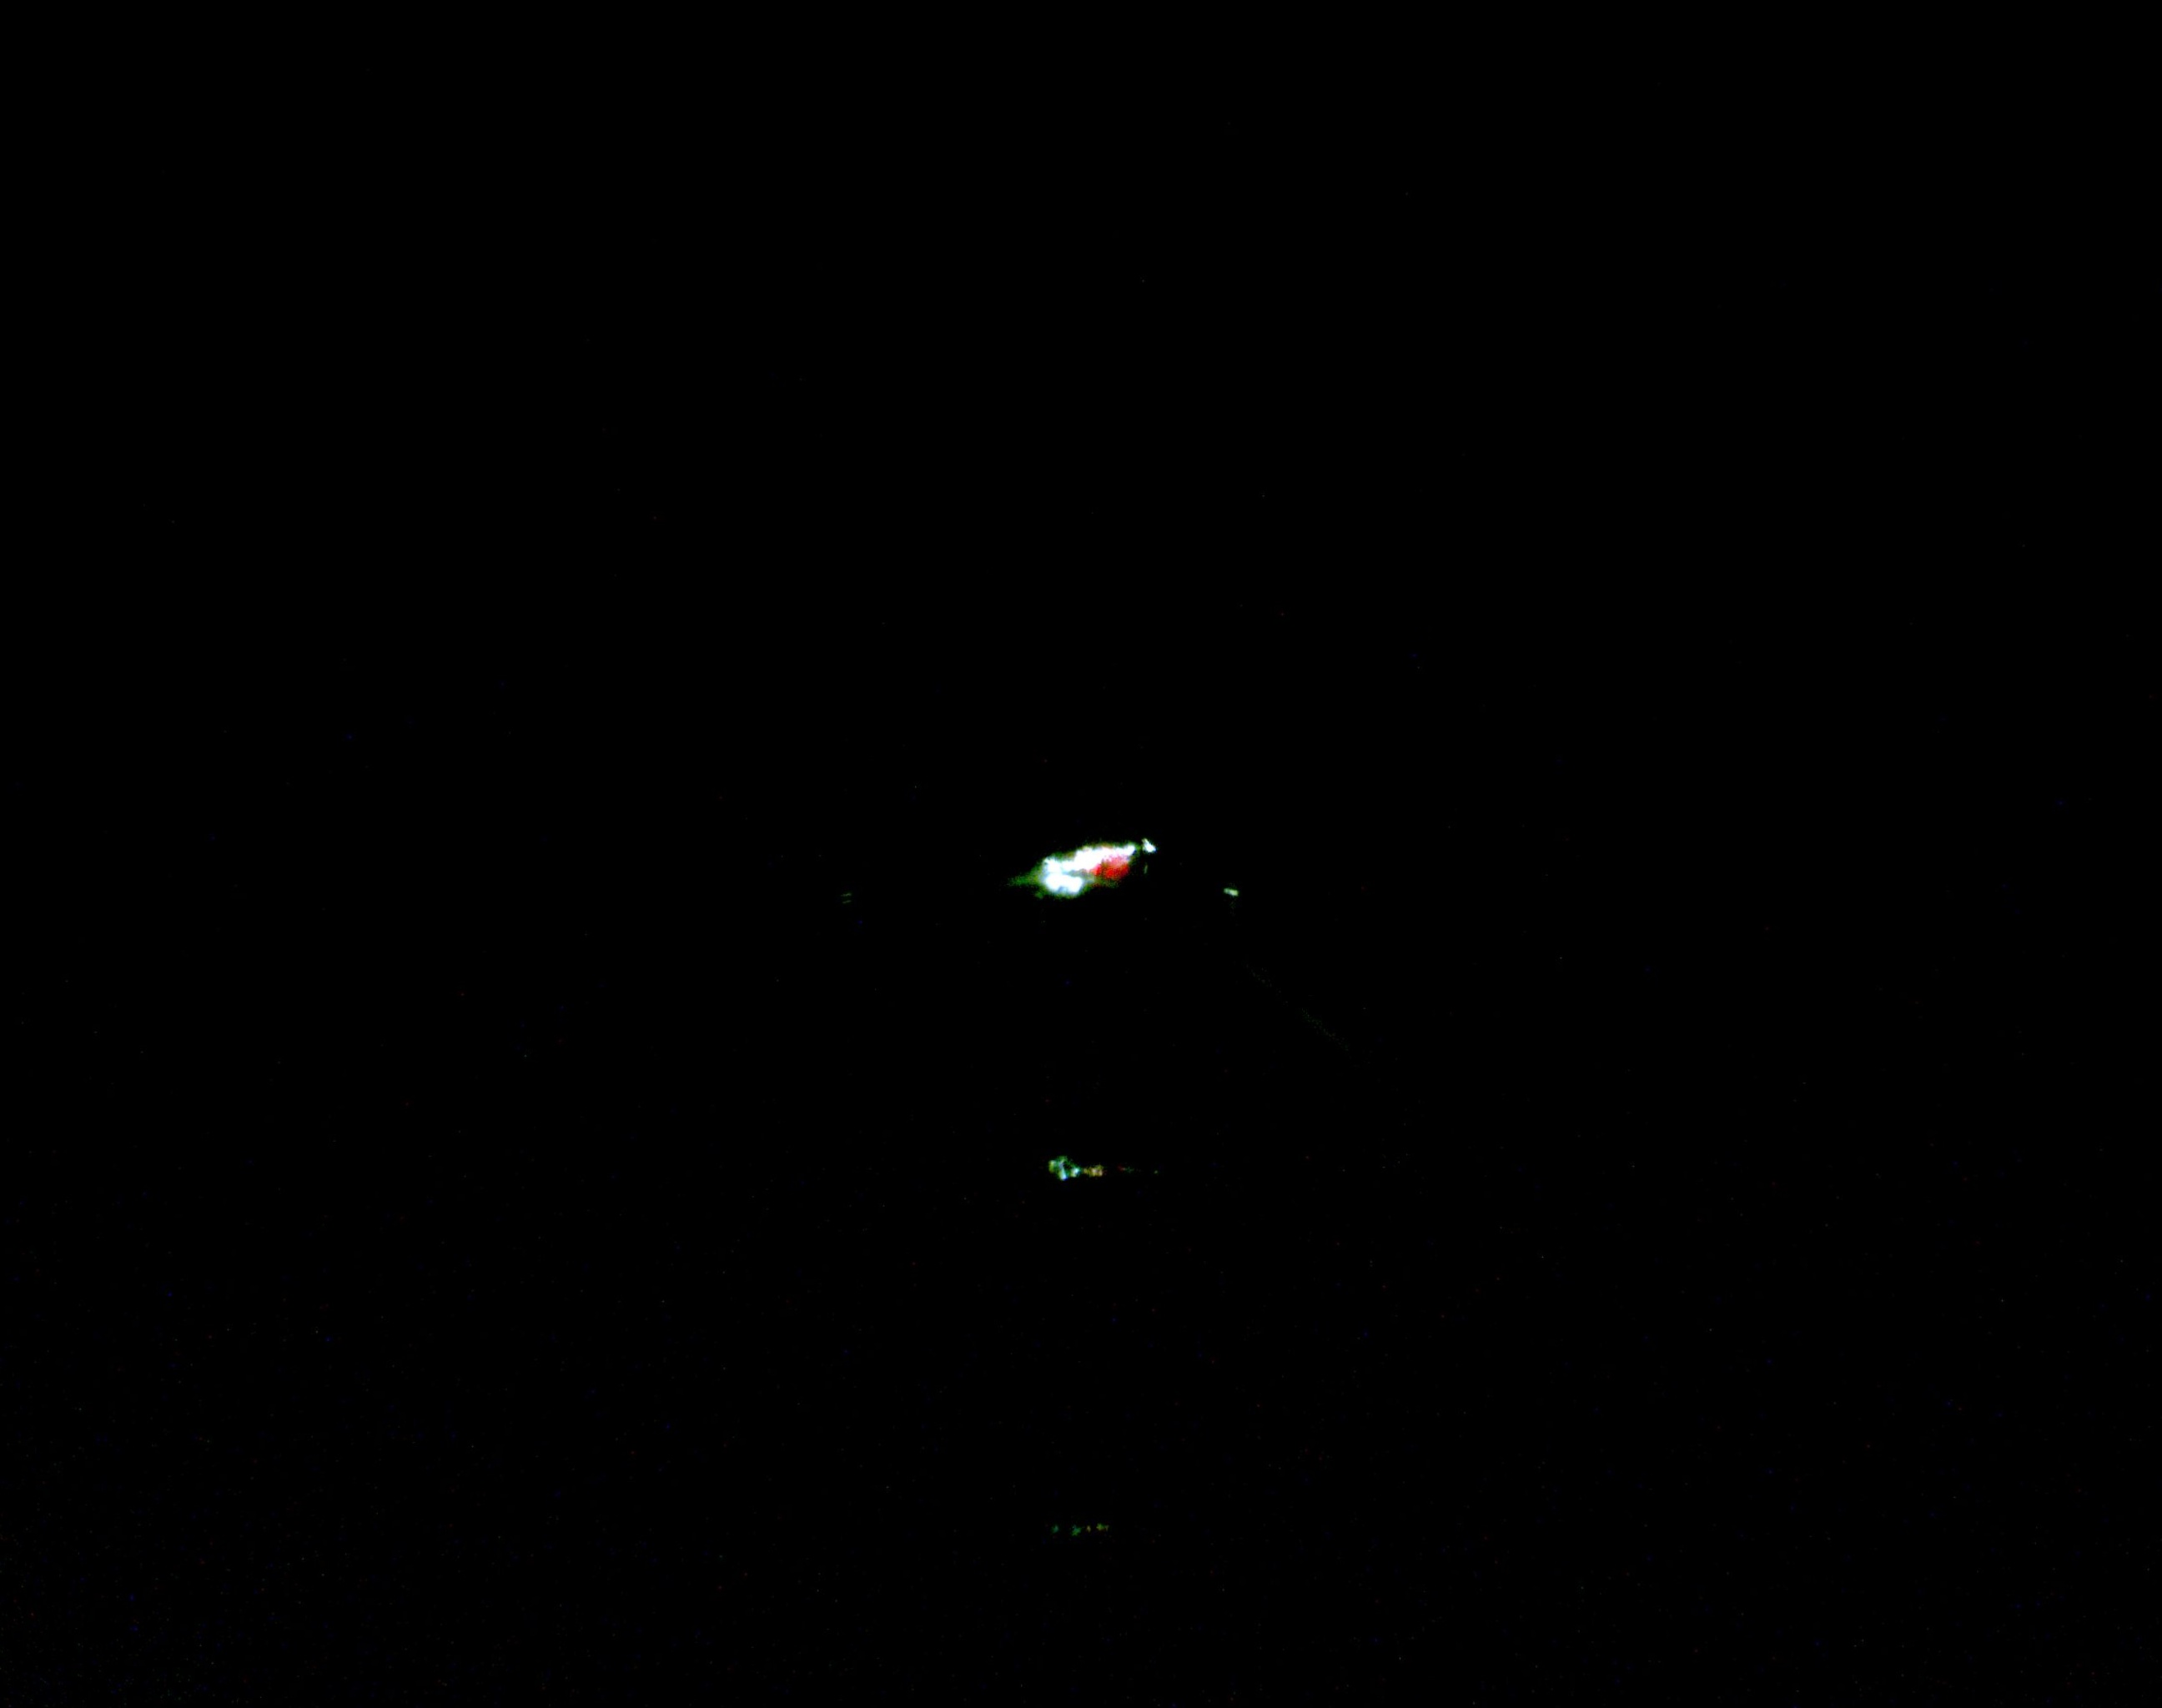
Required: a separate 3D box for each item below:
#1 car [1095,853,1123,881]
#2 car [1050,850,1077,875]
[{"bbox_3d":[1.882,0.878,55.891,1.836,1.740,4.001,1,1,1],"label":"car"},{"bbox_3d":[-1.427,0.739,68.535,1.985,2.014,4.002,0,-1,3],"label":"car"}]
